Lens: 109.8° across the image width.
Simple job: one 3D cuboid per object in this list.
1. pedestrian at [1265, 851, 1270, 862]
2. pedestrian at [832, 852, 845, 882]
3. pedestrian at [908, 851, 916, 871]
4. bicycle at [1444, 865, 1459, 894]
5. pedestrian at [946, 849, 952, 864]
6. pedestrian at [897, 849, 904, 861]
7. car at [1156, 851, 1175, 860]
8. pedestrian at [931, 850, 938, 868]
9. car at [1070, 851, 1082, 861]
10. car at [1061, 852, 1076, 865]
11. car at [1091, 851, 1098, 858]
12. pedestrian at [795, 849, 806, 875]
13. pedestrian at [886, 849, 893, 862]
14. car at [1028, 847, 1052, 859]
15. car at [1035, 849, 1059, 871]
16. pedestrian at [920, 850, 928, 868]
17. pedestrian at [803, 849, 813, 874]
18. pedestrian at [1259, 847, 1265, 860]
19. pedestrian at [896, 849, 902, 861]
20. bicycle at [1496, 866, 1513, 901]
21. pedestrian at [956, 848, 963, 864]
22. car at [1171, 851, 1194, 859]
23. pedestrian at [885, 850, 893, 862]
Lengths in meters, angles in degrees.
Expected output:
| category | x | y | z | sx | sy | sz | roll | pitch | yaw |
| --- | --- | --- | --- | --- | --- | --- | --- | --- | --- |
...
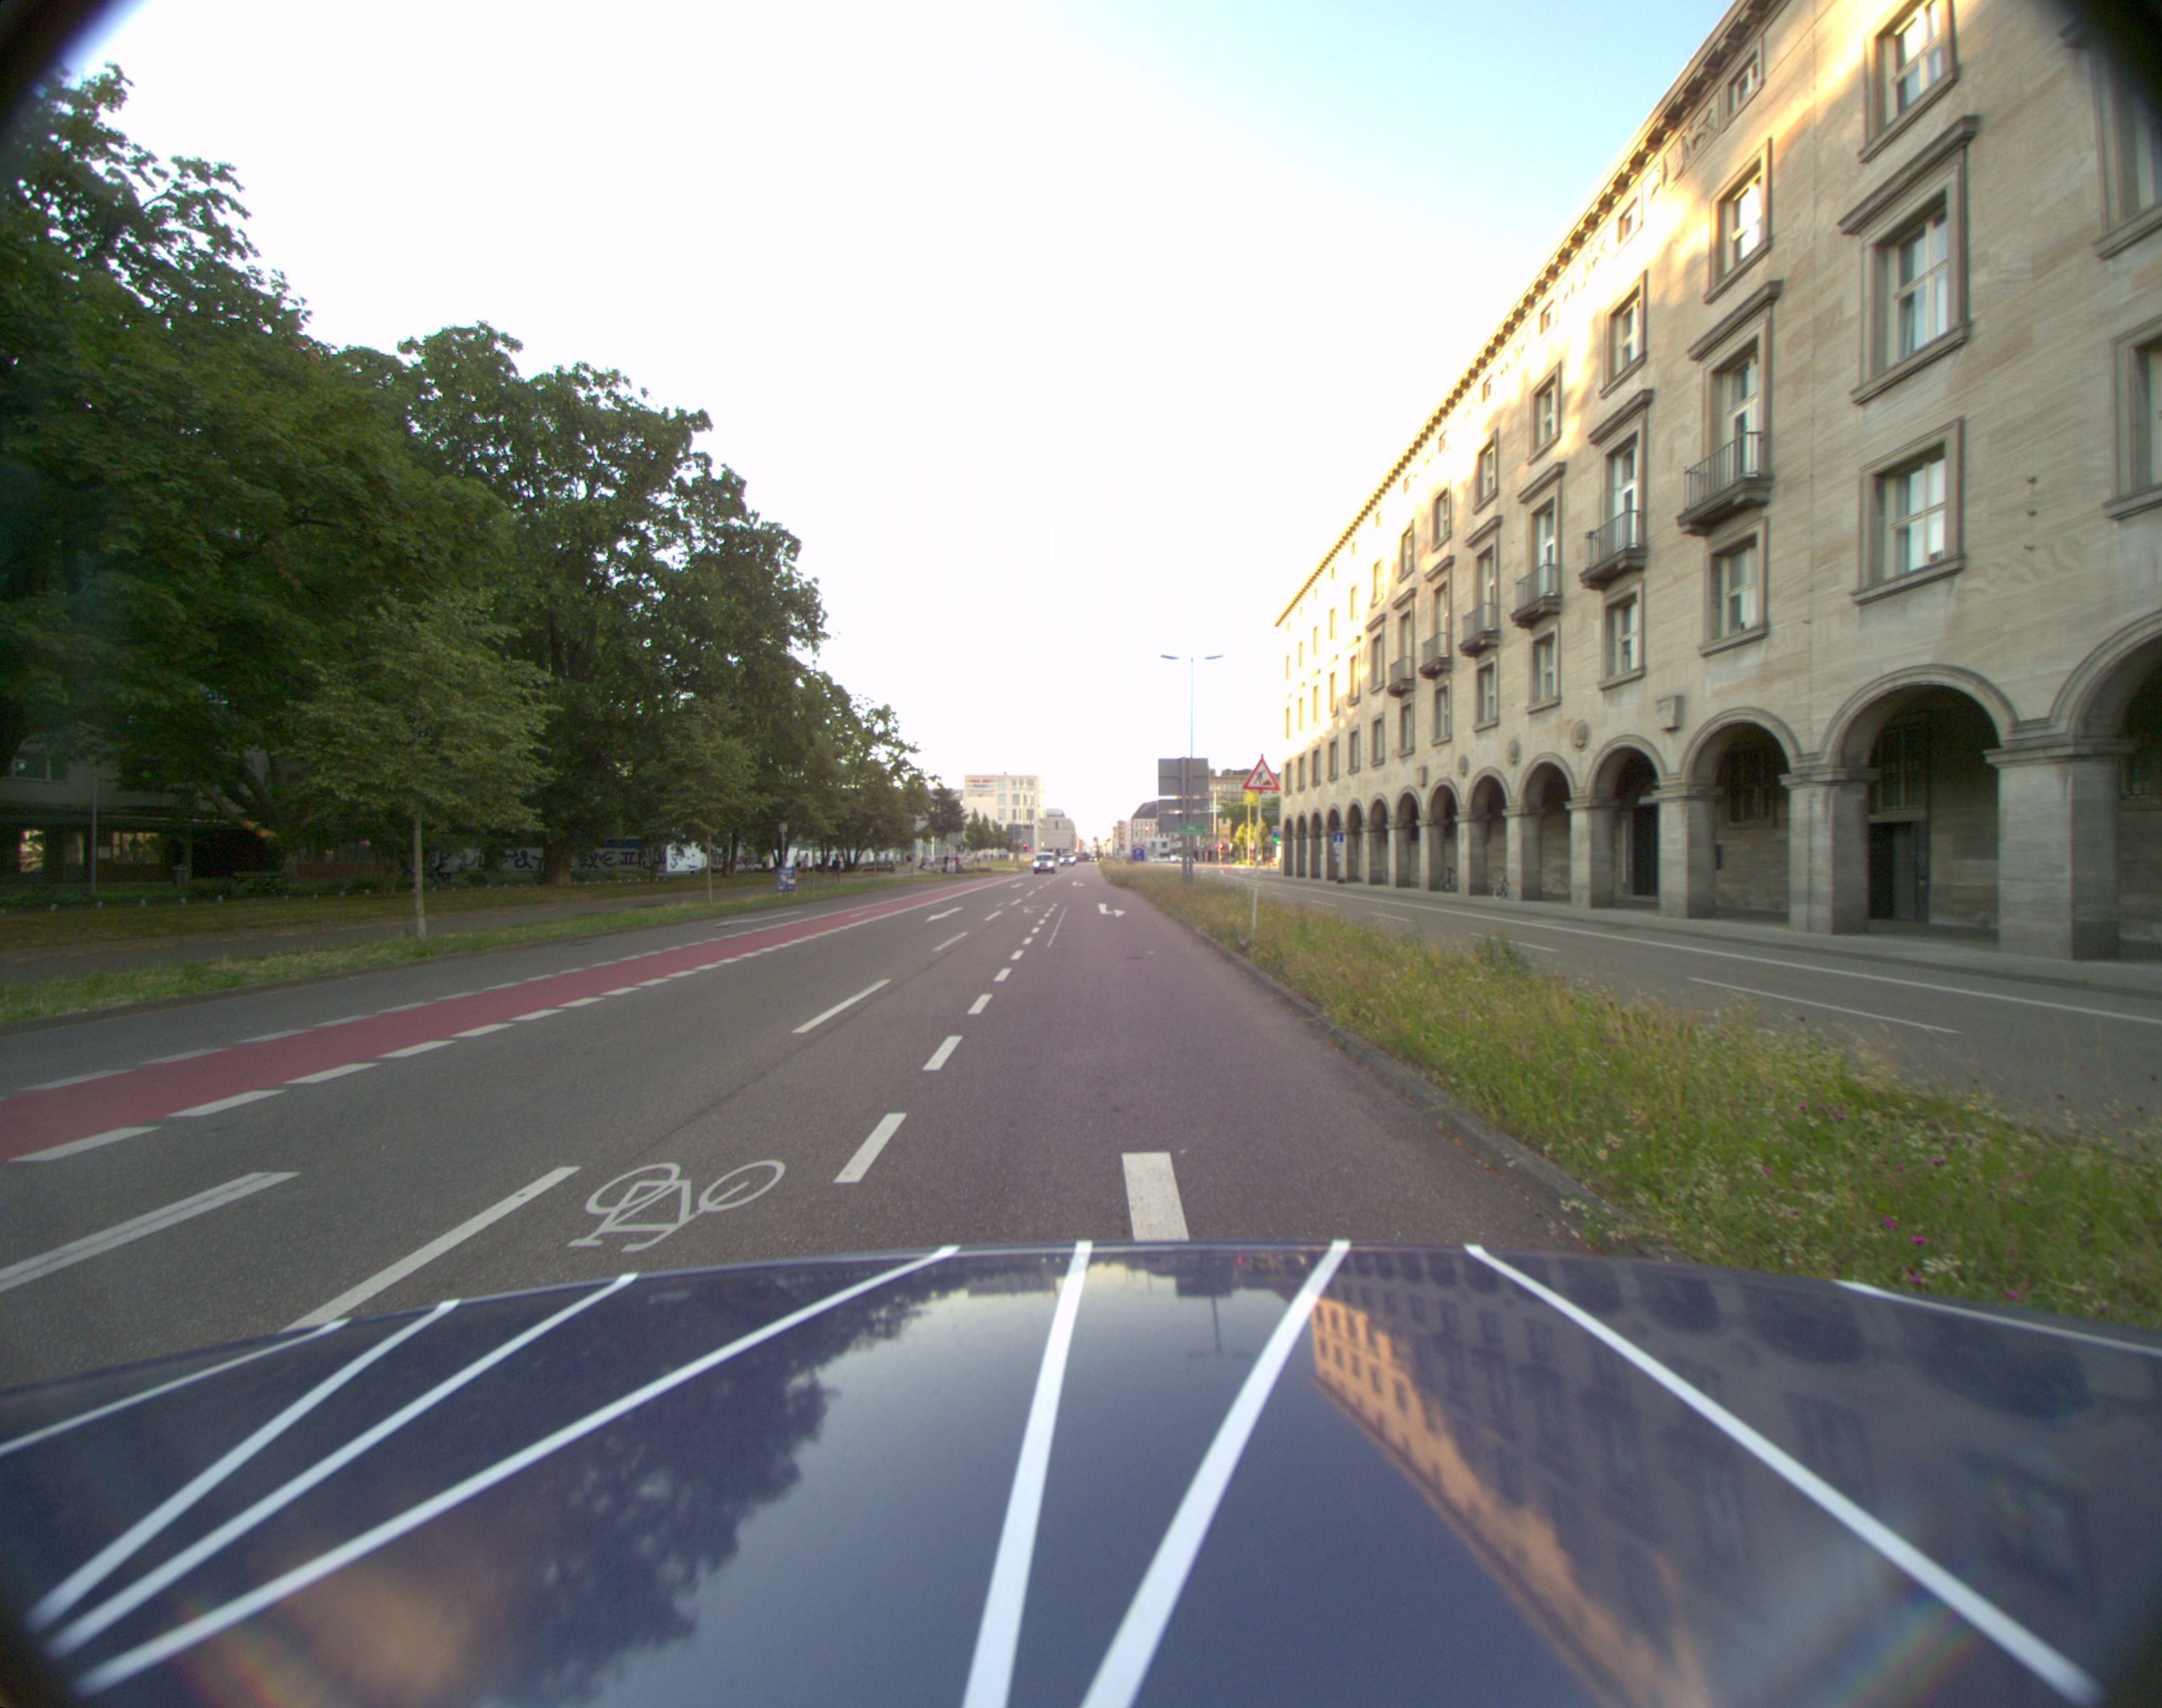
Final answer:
| category | x | y | z | sx | sy | sz | roll | pitch | yaw |
| --- | --- | --- | --- | --- | --- | --- | --- | --- | --- |
| pedestrian | 26.030 | 0.367 | 106.105 | 0.526 | 1.532 | 0.390 | 0 | 1 | 1 |
| pedestrian | -13.771 | 0.727 | 43.108 | 0.558 | 1.729 | 0.555 | 0 | 1 | 1 |
| pedestrian | -15.106 | 0.625 | 67.973 | 0.509 | 1.720 | 0.719 | 0 | 1 | 1 |
| bicycle | 15.670 | 1.060 | 32.164 | 0.513 | 1.172 | 2.427 | 0 | 0 | 25 |
| pedestrian | -14.690 | 0.276 | 84.699 | 0.638 | 1.747 | 0.506 | 0 | 1 | 1 |
| pedestrian | -20.457 | 0.157 | 85.945 | 0.662 | 1.347 | 0.559 | 0 | 1 | 1 |
| car | 19.033 | 0.396 | 170.914 | 3.999 | 2.002 | 1.999 | 0 | 0 | -5 |
| pedestrian | -14.030 | 0.450 | 72.560 | 0.509 | 1.720 | 0.719 | 0 | 1 | 1 |
| car | -0.782 | 0.308 | 117.530 | 1.782 | 1.617 | 4.215 | -1 | 0 | 1 |
| car | -1.695 | 0.600 | 103.781 | 1.826 | 1.612 | 4.336 | 0 | 0 | 0 |
| car | 4.480 | 0.059 | 246.866 | 1.998 | 2.297 | 5.090 | 0 | 0 | 2 |
| pedestrian | -17.493 | 0.509 | 47.391 | 0.500 | 1.592 | 0.522 | 0 | 1 | 1 |
| pedestrian | -21.105 | 0.162 | 83.781 | 0.519 | 1.347 | 0.773 | 0 | 1 | 1 |
| car | -7.053 | -0.169 | 131.112 | 3.998 | 2.002 | 2.000 | 0 | 0 | -2 |
| car | -3.032 | 0.528 | 68.630 | 1.767 | 1.877 | 4.500 | 0 | 0 | 2 |
| pedestrian | -15.029 | 0.456 | 72.751 | 0.519 | 1.720 | 0.719 | 0 | 1 | 1 |
| pedestrian | -17.507 | 0.455 | 48.789 | 0.500 | 1.592 | 0.365 | 0 | 1 | 1 |
| pedestrian | 25.313 | -0.047 | 106.334 | 0.638 | 1.747 | 0.506 | 0 | 1 | 1 |
| pedestrian | -20.106 | 0.120 | 83.947 | 0.519 | 1.347 | 0.773 | 0 | 1 | 1 |
| bicycle | 15.357 | 1.045 | 27.527 | 0.513 | 1.115 | 2.427 | 0 | 1 | 30 |
| pedestrian | -13.538 | 0.248 | 84.557 | 0.638 | 1.747 | 0.506 | 0 | 1 | 1 |
| car | 18.949 | 0.193 | 141.971 | 4.029 | 1.599 | 1.999 | 0 | 0 | -7 |
| pedestrian | -21.681 | 0.185 | 85.671 | 0.728 | 1.347 | 0.614 | 0 | 1 | 1 |
